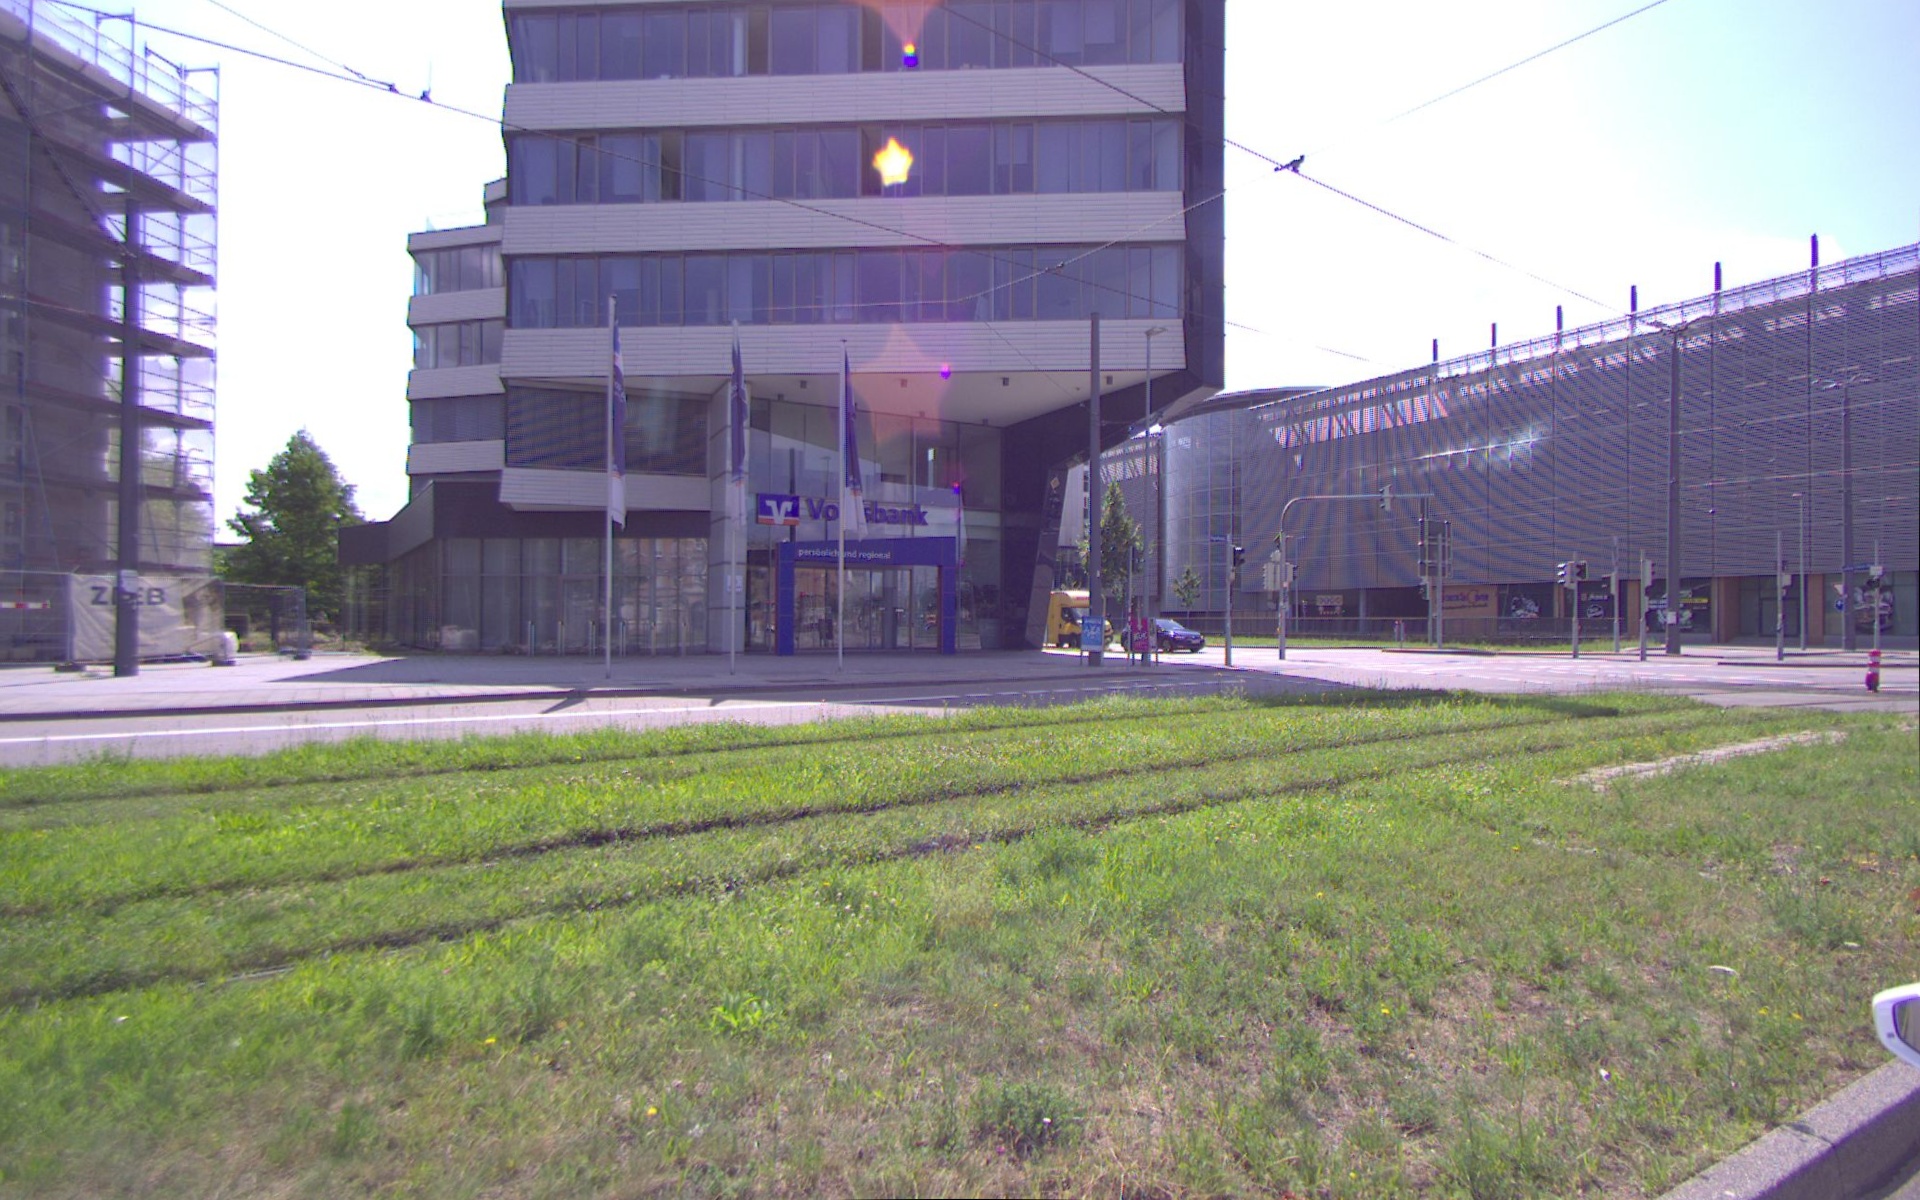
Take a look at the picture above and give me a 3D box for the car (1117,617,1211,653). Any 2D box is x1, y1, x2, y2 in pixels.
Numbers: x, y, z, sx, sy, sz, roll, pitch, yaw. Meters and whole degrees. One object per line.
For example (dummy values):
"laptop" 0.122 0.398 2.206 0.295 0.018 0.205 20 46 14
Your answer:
"car" 8.846 1.487 43.843 1.805 1.488 4.080 1 -1 -29

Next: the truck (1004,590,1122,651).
"truck" 5.085 1.004 50.823 2.418 2.866 6.814 1 -1 -30
